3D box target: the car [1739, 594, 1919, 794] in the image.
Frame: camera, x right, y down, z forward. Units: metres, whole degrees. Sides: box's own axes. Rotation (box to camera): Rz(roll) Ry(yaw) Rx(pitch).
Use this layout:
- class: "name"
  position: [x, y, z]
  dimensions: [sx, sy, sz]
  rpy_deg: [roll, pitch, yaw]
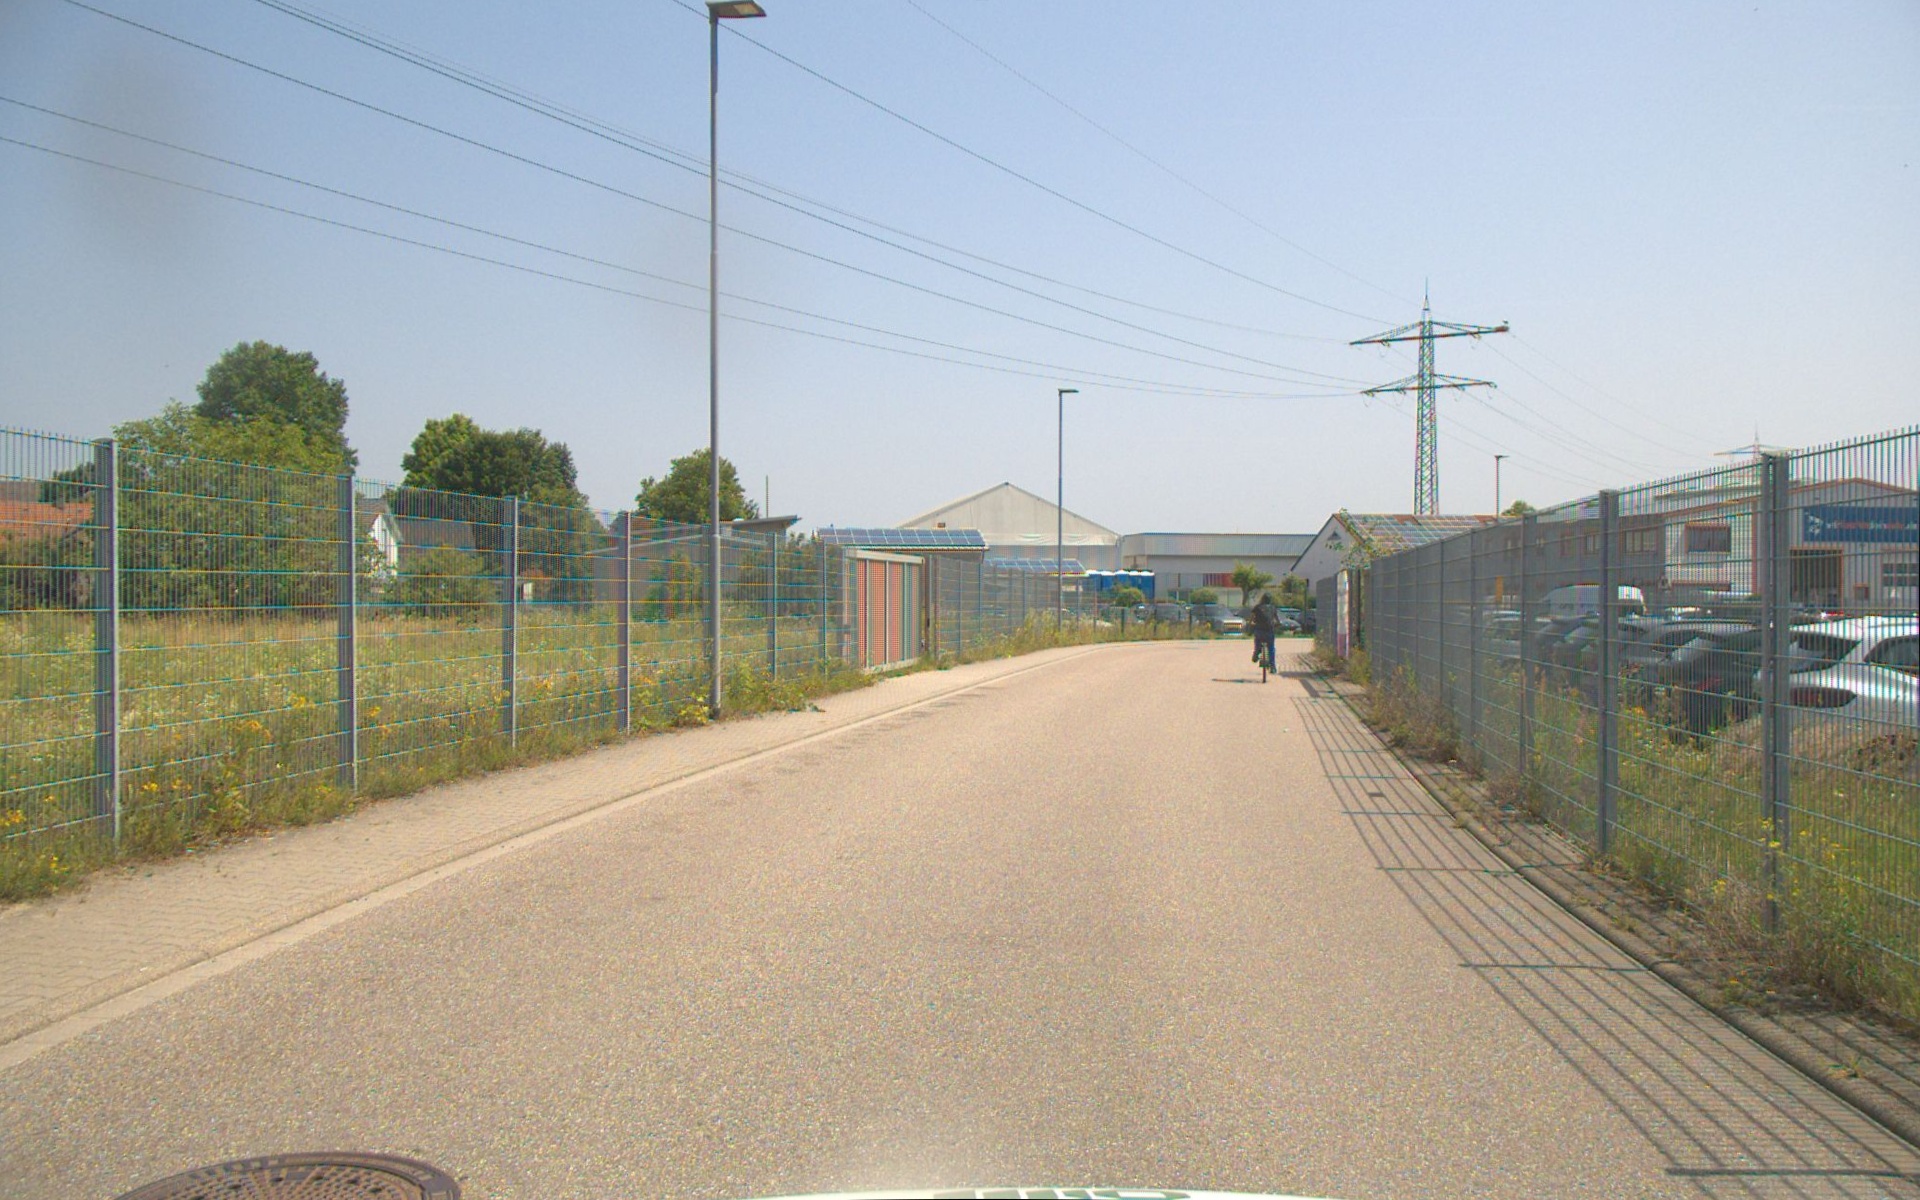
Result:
- class: "car"
  position: [8.499, 0.783, 12.796]
  dimensions: [4.121, 1.430, 1.840]
  rpy_deg: [3, 0, 13]

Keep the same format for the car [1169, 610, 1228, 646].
- class: "car"
  position: [11.422, 1.332, 79.376]
  dimensions: [1.828, 1.672, 3.626]
  rpy_deg: [0, 0, -9]

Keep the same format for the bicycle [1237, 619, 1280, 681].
- class: "bicycle"
  position: [5.581, 0.907, 30.819]
  dimensions: [0.670, 1.070, 1.902]
  rpy_deg: [1, 0, 13]

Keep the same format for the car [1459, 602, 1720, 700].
- class: "car"
  position: [11.327, 0.889, 29.973]
  dimensions: [4.076, 1.499, 1.639]
  rpy_deg: [3, 0, 6]

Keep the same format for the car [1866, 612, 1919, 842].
- class: "car"
  position: [8.048, 0.906, 9.952]
  dimensions: [4.121, 1.430, 1.840]
  rpy_deg: [3, 0, 7]

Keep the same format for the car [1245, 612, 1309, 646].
- class: "car"
  position: [15.134, 1.372, 79.068]
  dimensions: [1.828, 1.581, 3.762]
  rpy_deg: [0, 0, -9]

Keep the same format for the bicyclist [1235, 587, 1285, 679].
- class: "bicyclist"
  position: [5.575, 0.603, 30.736]
  dimensions: [0.824, 1.646, 1.040]
  rpy_deg: [1, 1, 13]
